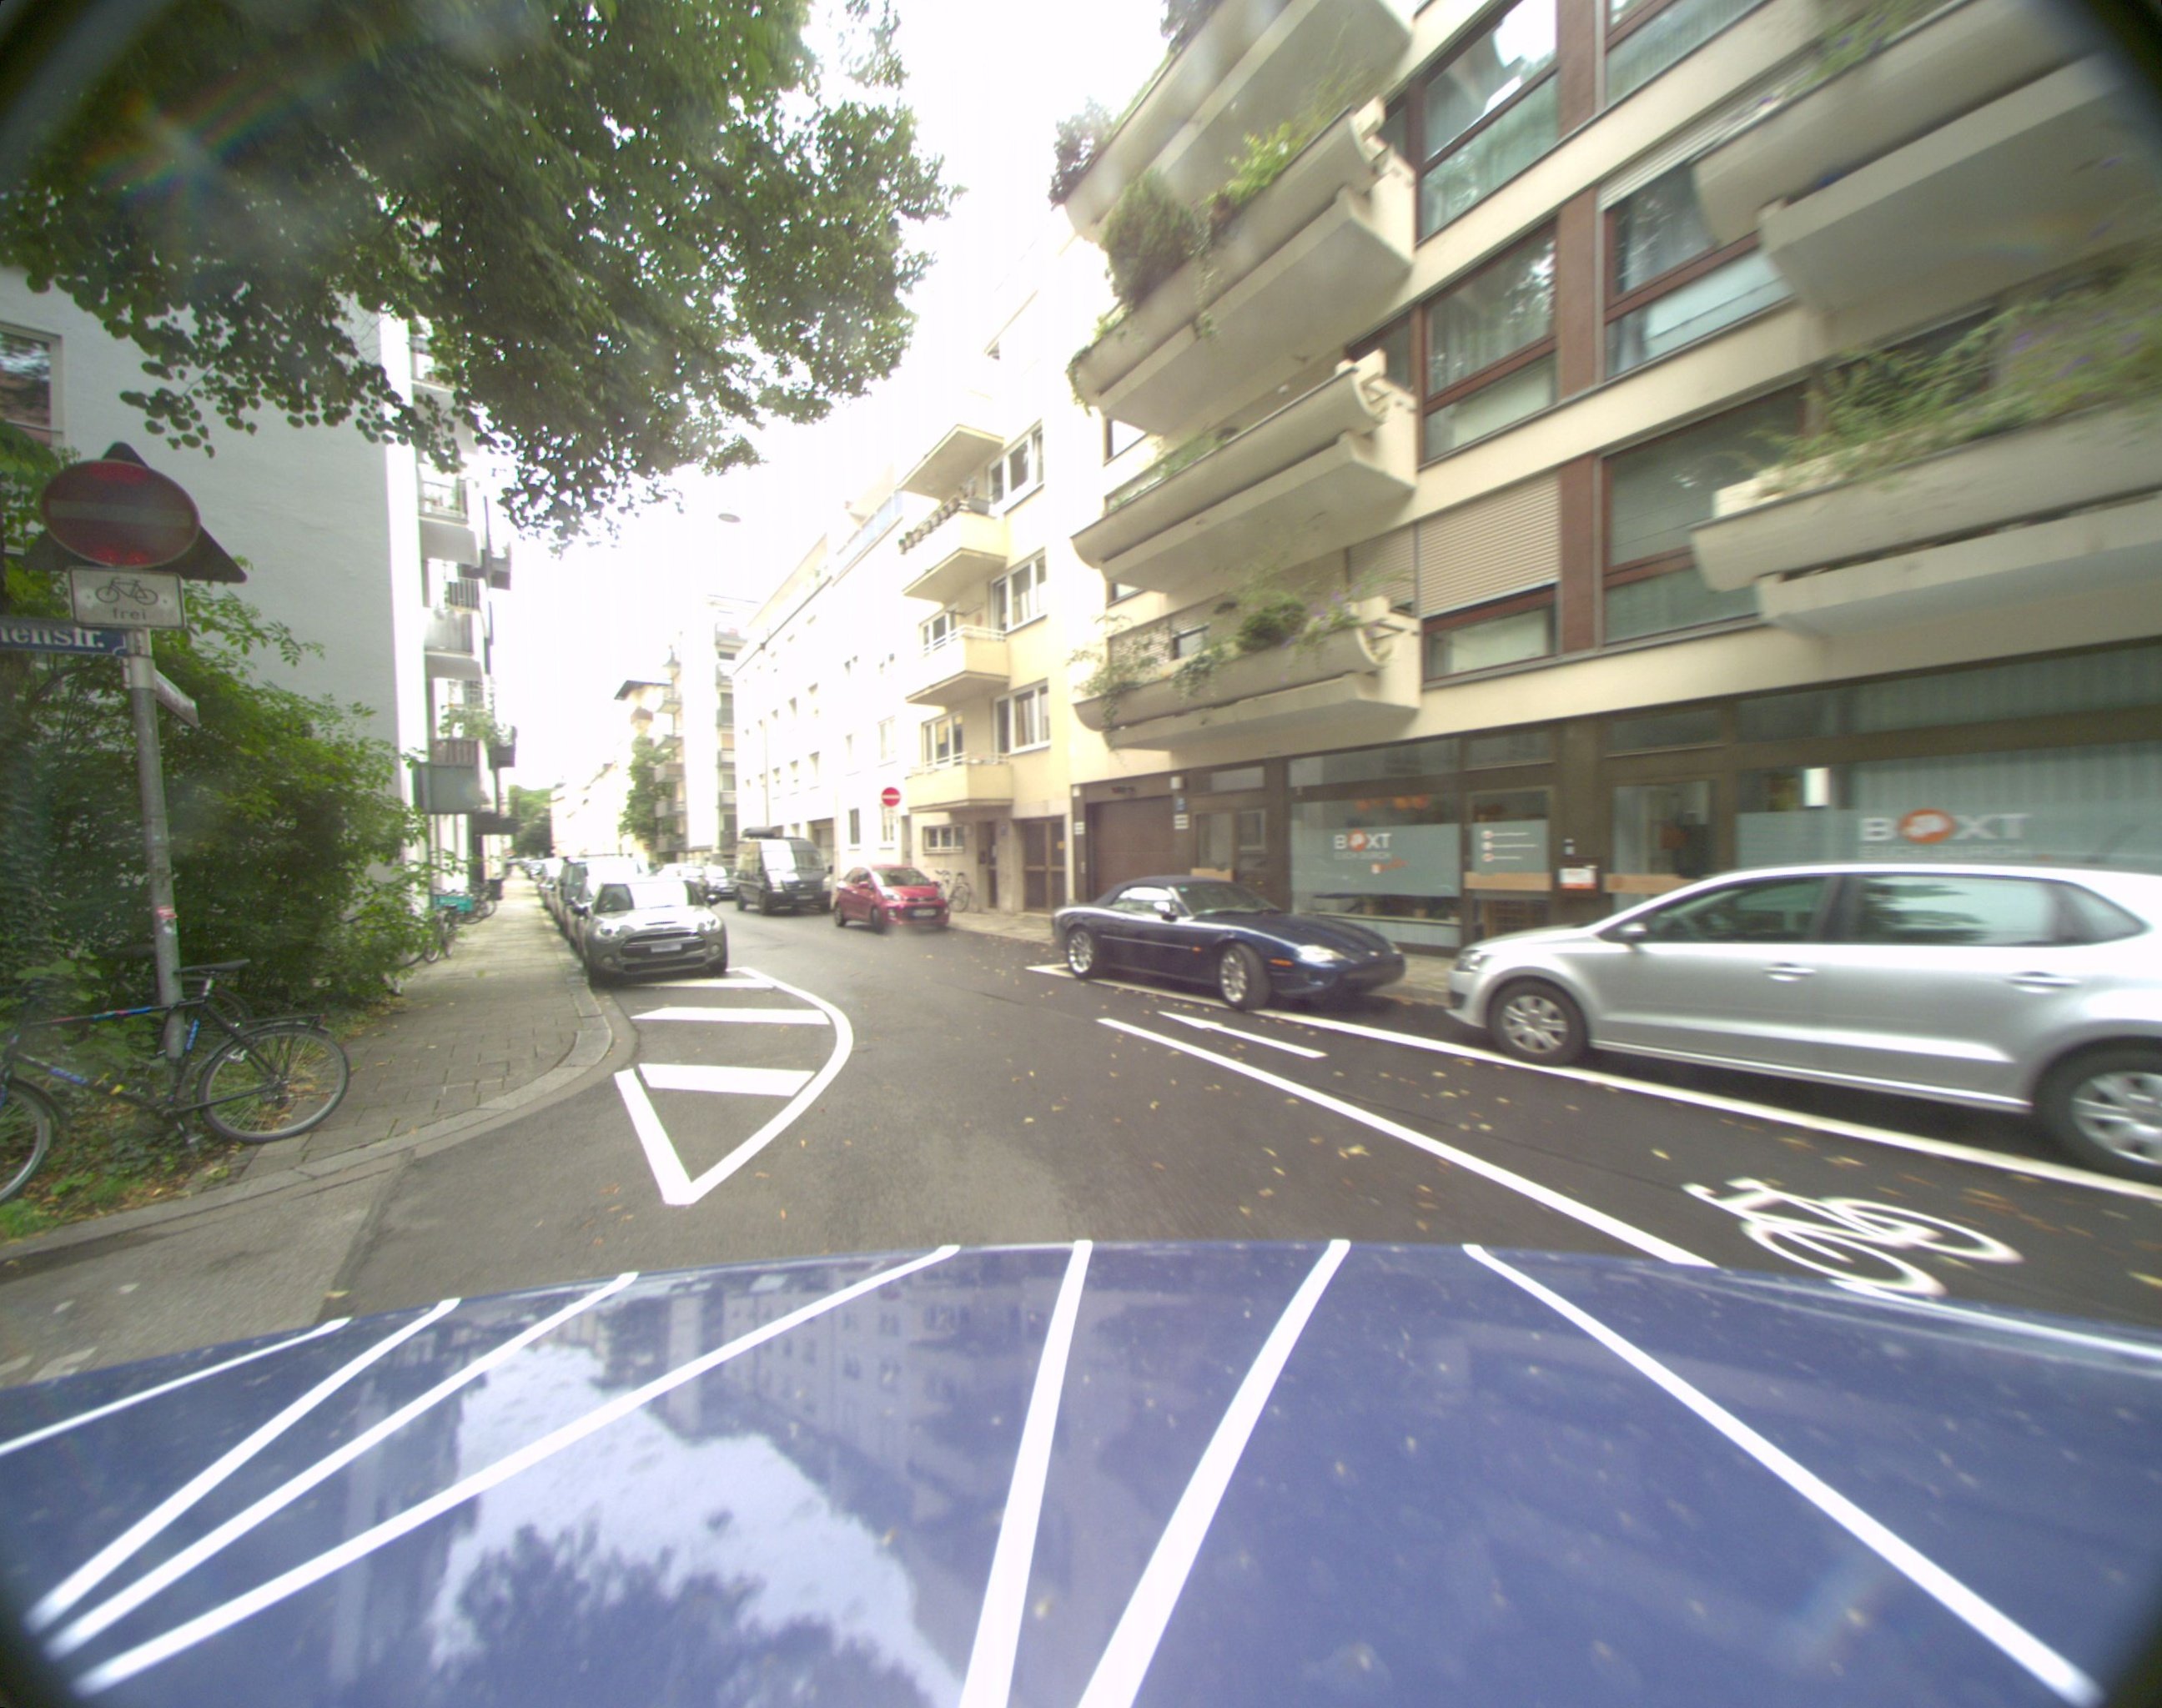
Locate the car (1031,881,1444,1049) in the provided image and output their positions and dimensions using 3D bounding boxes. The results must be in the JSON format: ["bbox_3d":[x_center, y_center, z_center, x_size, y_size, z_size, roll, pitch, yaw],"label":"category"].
[{"bbox_3d":[1.431,1.001,8.683,1.806,1.270,4.604,0,-1,-36],"label":"car"}]

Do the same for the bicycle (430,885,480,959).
[{"bbox_3d":[-11.741,1.230,14.269,0.626,1.213,2.242,-3,2,-39],"label":"bicycle"}]

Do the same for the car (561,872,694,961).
[{"bbox_3d":[-9.240,1.129,15.315,1.842,1.411,4.047,-2,1,-37],"label":"car"}]

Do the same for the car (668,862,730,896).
[{"bbox_3d":[-18.320,1.141,36.349,1.810,1.409,4.215,-2,1,-38],"label":"car"}]

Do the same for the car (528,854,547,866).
[{"bbox_3d":[-72.431,0.776,101.263,1.900,1.621,4.284,-2,1,-37],"label":"car"}]

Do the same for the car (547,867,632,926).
[{"bbox_3d":[-15.625,1.252,24.034,1.915,1.545,4.612,-2,1,-37],"label":"car"}]

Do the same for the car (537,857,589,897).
[{"bbox_3d":[-27.838,1.171,40.750,1.992,1.829,5.170,-4,3,-37],"label":"car"}]

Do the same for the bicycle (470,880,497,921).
[{"bbox_3d":[-18.214,1.386,23.172,0.573,1.144,1.559,-3,1,-37],"label":"bicycle"}]

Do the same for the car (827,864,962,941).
[{"bbox_3d":[-4.344,1.006,17.340,1.628,1.488,3.699,-2,1,-37],"label":"car"}]

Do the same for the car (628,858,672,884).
[{"bbox_3d":[-28.994,1.122,51.016,1.977,1.598,4.528,-2,1,-37],"label":"car"}]

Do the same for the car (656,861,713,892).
[{"bbox_3d":[-21.202,1.141,40.534,1.922,1.429,4.795,-2,1,-37],"label":"car"}]

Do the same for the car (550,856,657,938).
[{"bbox_3d":[-12.296,0.962,19.418,1.884,1.781,4.769,-2,1,-37],"label":"car"}]

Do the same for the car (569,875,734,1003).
[{"bbox_3d":[-6.598,1.103,11.455,1.752,1.433,3.989,-2,1,-35],"label":"car"}]

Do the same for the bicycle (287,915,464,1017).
[{"bbox_3d":[-7.886,1.248,8.513,1.633,1.050,0.451,-2,1,6],"label":"bicycle"}]

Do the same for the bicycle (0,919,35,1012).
[{"bbox_3d":[-12.915,1.310,8.259,1.705,1.017,0.538,-3,2,-42],"label":"bicycle"}]

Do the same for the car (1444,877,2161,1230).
[{"bbox_3d":[4.474,0.889,4.594,1.569,1.413,3.823,0,0,-37],"label":"car"}]

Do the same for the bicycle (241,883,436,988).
[{"bbox_3d":[-10.311,1.088,10.646,1.857,1.223,0.576,-3,2,-44],"label":"bicycle"}]

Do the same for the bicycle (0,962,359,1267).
[{"bbox_3d":[-4.904,1.252,3.798,0.553,1.131,1.775,-1,1,19],"label":"bicycle"}]

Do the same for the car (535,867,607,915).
[{"bbox_3d":[-18.816,1.280,27.966,1.768,1.423,4.249,-6,4,-38],"label":"car"}]

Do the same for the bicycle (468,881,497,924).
[{"bbox_3d":[-17.242,1.386,21.901,0.573,1.144,1.427,-3,1,-37],"label":"bicycle"}]

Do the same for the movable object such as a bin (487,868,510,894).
[{"bbox_3d":[-27.281,1.255,35.580,0.799,1.133,0.572,-2,2,-37],"label":"movable object such as a bin"}]

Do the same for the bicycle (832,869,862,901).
[{"bbox_3d":[-8.530,1.108,27.633,0.465,1.091,1.865,-3,2,-35],"label":"bicycle"}]

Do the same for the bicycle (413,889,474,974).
[{"bbox_3d":[-10.393,1.215,12.430,0.562,1.213,1.912,-3,1,-36],"label":"bicycle"}]

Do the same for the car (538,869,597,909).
[{"bbox_3d":[-21.613,1.415,31.910,1.743,1.421,4.191,-2,1,-38],"label":"car"}]

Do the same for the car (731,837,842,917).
[{"bbox_3d":[-9.509,0.647,24.268,2.029,2.265,5.376,0,0,-36],"label":"car"}]

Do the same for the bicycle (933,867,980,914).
[{"bbox_3d":[-3.297,0.936,20.025,0.469,1.142,1.755,-3,1,-35],"label":"bicycle"}]

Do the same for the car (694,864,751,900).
[{"bbox_3d":[-15.504,1.164,32.749,1.620,1.438,3.733,1,0,-35],"label":"car"}]

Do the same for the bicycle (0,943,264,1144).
[{"bbox_3d":[-6.610,1.224,4.978,0.604,1.050,1.638,-1,2,39],"label":"bicycle"}]
